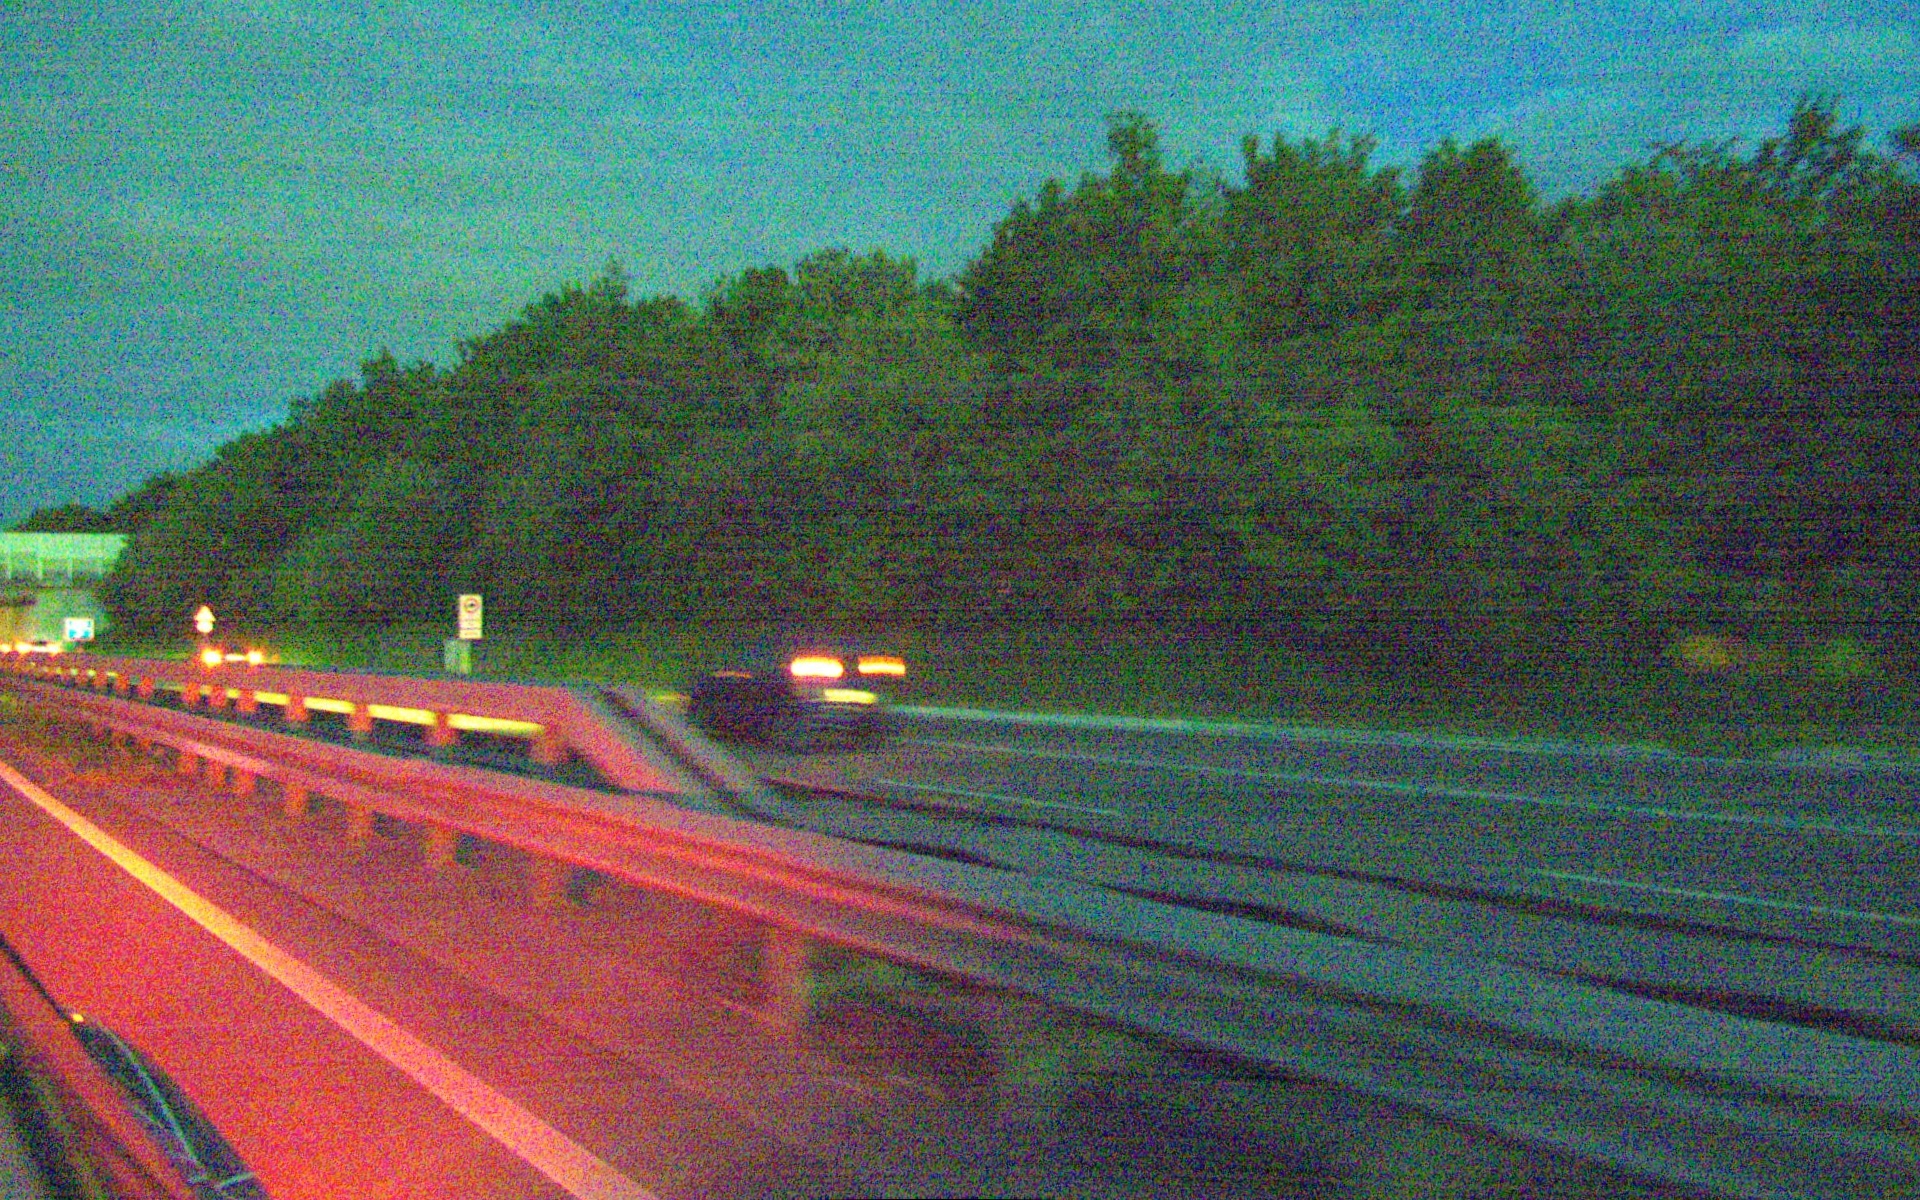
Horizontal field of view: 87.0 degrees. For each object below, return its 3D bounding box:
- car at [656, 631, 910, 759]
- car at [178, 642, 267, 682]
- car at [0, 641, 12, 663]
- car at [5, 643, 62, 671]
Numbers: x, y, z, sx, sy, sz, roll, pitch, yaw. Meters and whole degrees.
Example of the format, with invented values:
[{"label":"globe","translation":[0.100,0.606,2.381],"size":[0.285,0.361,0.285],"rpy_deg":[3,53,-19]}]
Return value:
[{"label":"car","translation":[-2.489,1.224,13.856],"size":[3.513,1.531,1.529],"rpy_deg":[-2,-4,41]},{"label":"car","translation":[-29.137,2.406,39.937],"size":[4.699,1.498,1.932],"rpy_deg":[-2,-4,43]},{"label":"car","translation":[-71.393,3.800,74.102],"size":[4.690,1.565,2.102],"rpy_deg":[-2,-2,37]},{"label":"car","translation":[-58.632,3.576,64.033],"size":[4.695,1.643,2.100],"rpy_deg":[-2,-3,41]}]
